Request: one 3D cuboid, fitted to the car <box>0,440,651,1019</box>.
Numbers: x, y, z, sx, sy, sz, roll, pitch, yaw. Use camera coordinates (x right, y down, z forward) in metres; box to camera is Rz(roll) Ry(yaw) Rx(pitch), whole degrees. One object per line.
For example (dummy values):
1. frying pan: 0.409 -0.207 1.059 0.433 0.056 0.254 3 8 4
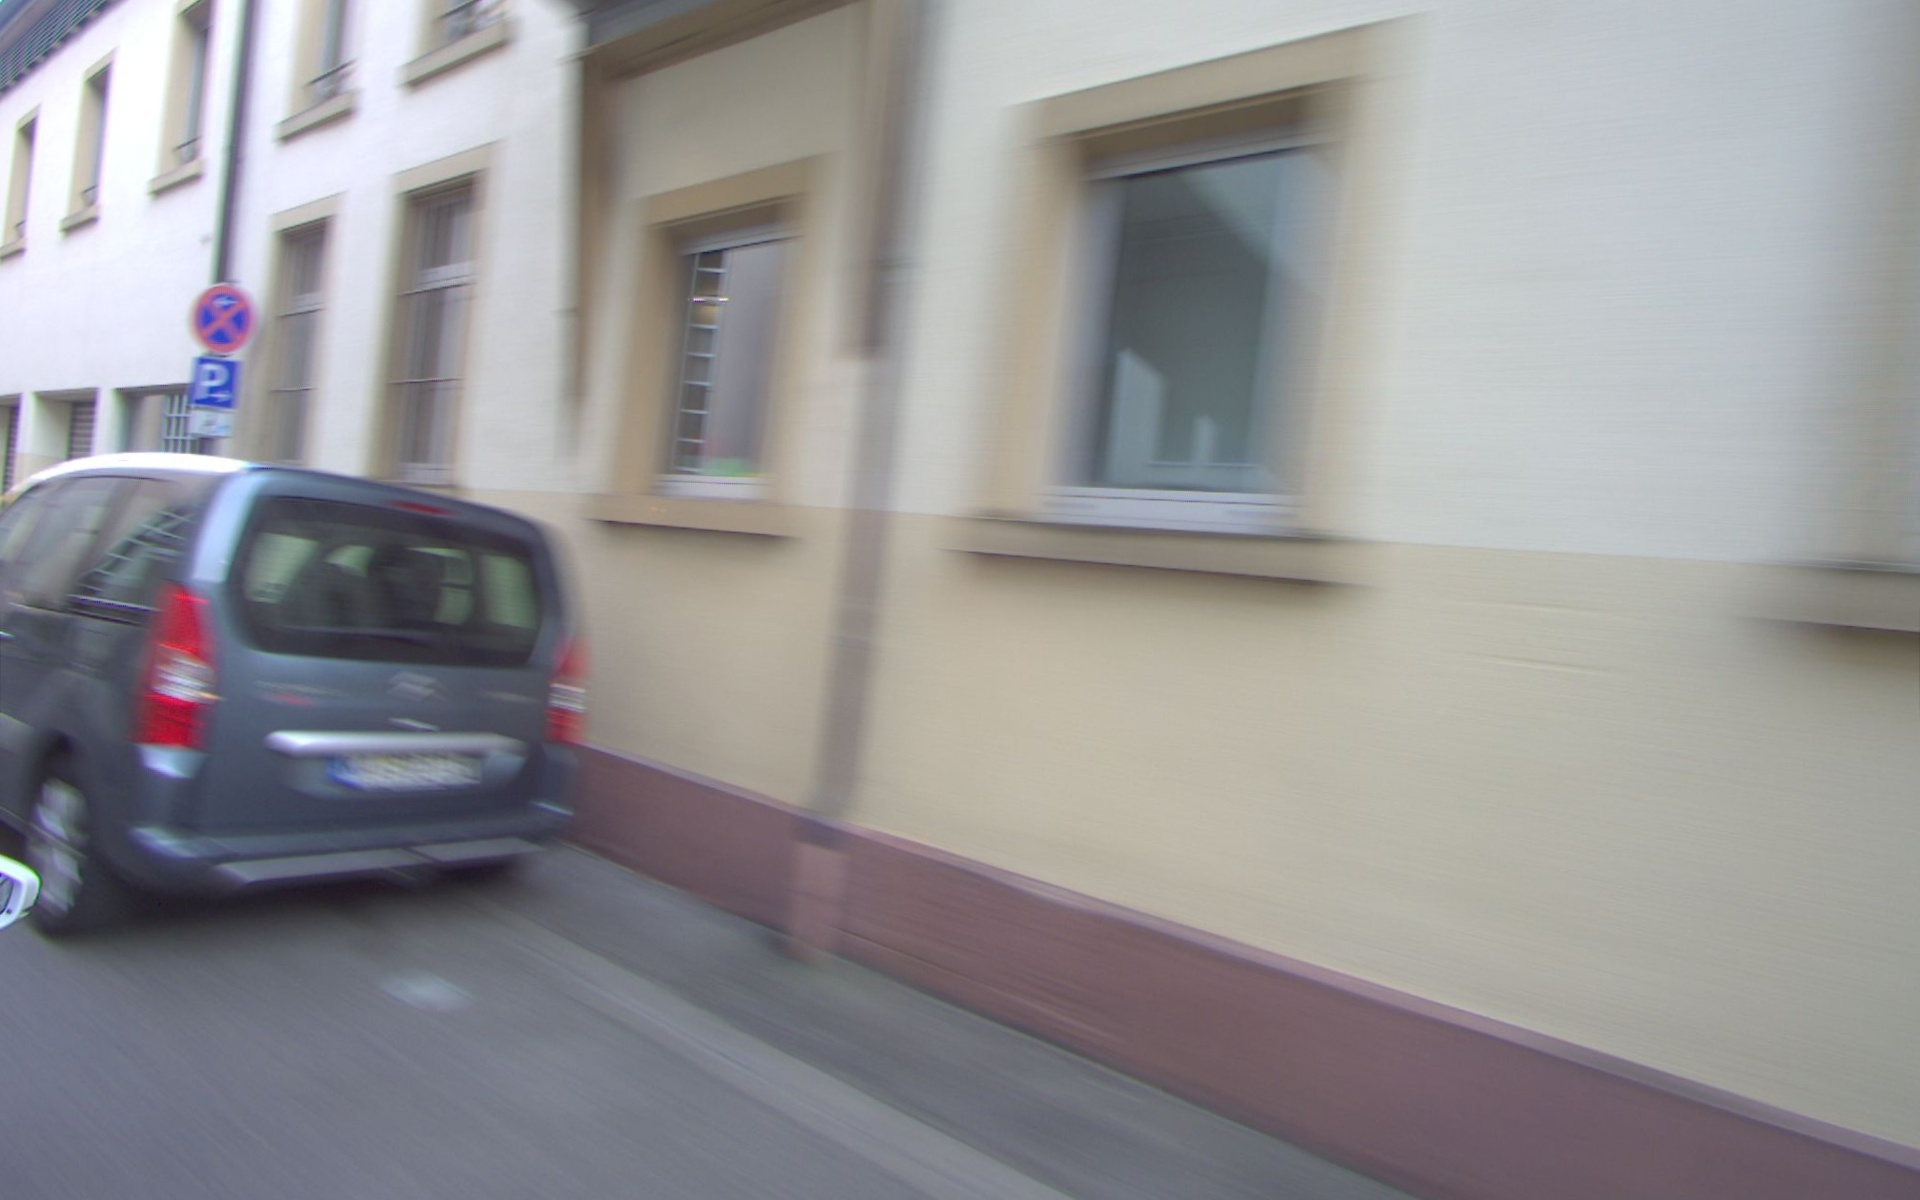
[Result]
1. car: -3.730 0.287 4.992 4.094 1.777 1.857 7 -1 33
